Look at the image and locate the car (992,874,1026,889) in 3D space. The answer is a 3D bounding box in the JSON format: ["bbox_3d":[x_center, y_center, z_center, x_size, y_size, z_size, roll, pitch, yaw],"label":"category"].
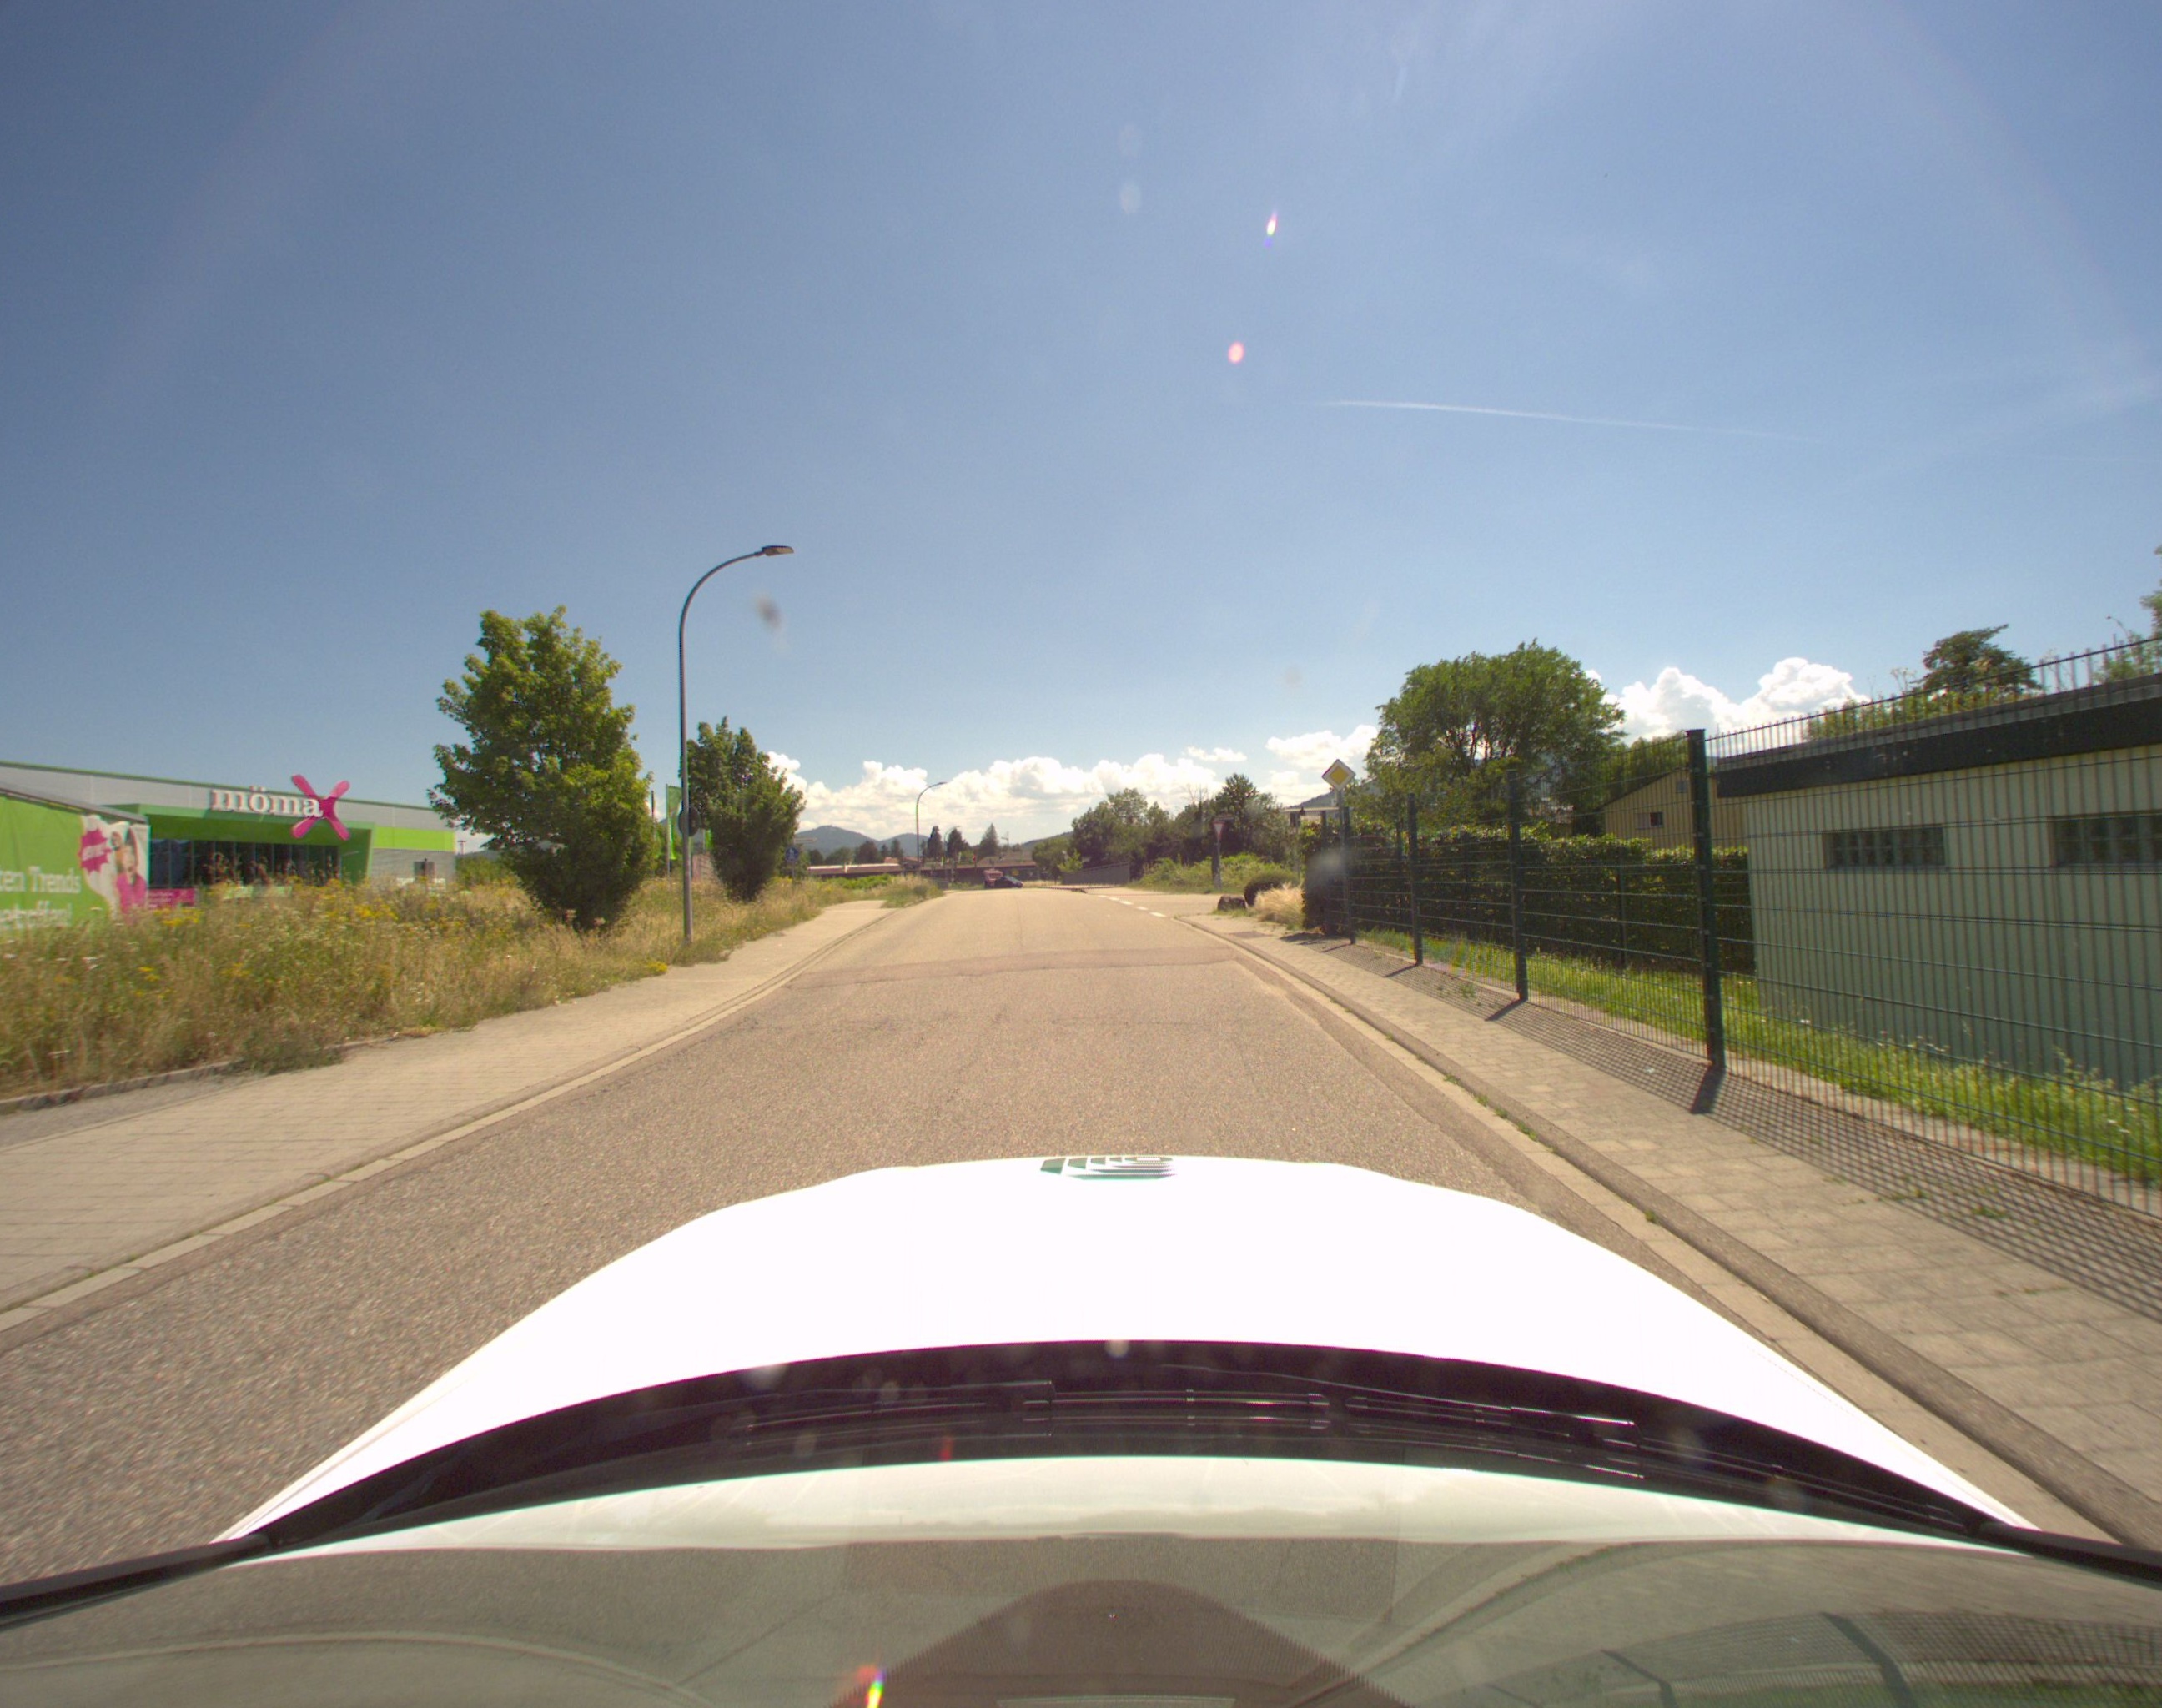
[{"bbox_3d":[-8.390,3.211,94.798,3.722,1.634,1.899,-3,-1,39],"label":"car"}]

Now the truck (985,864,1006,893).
[{"bbox_3d":[-13.712,4.012,129.887,2.993,4.181,11.773,-1,-3,-7],"label":"truck"}]
